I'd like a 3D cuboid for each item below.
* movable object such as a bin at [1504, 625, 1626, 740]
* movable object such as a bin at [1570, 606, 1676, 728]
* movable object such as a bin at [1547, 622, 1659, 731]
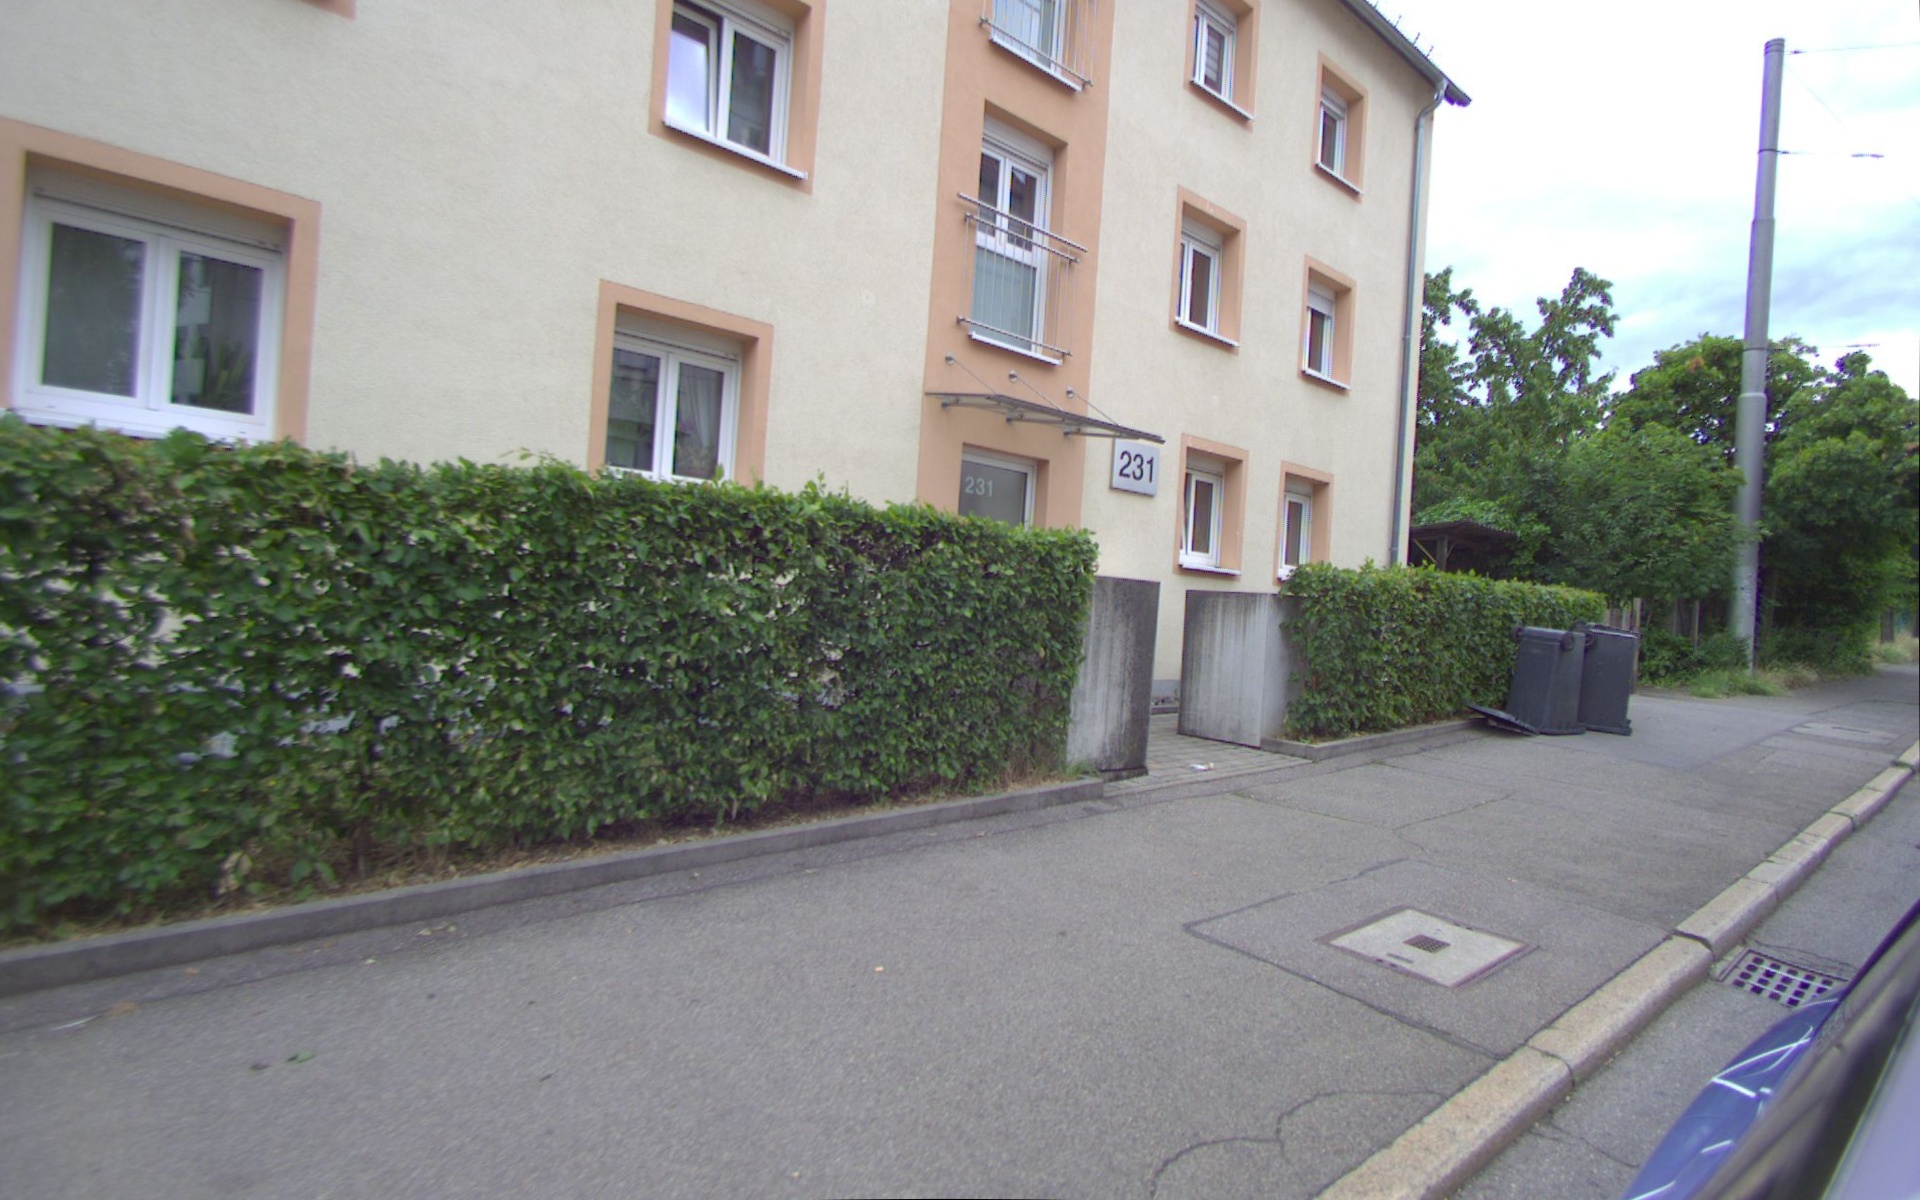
[{"bbox_3d":[5.957,0.782,9.976,0.775,1.024,0.794,1,1,-39],"label":"movable object such as a bin"},{"bbox_3d":[7.211,0.697,11.006,0.776,1.233,0.792,1,1,-45],"label":"movable object such as a bin"},{"bbox_3d":[6.629,0.757,10.436,0.776,1.024,0.792,1,1,-45],"label":"movable object such as a bin"}]
